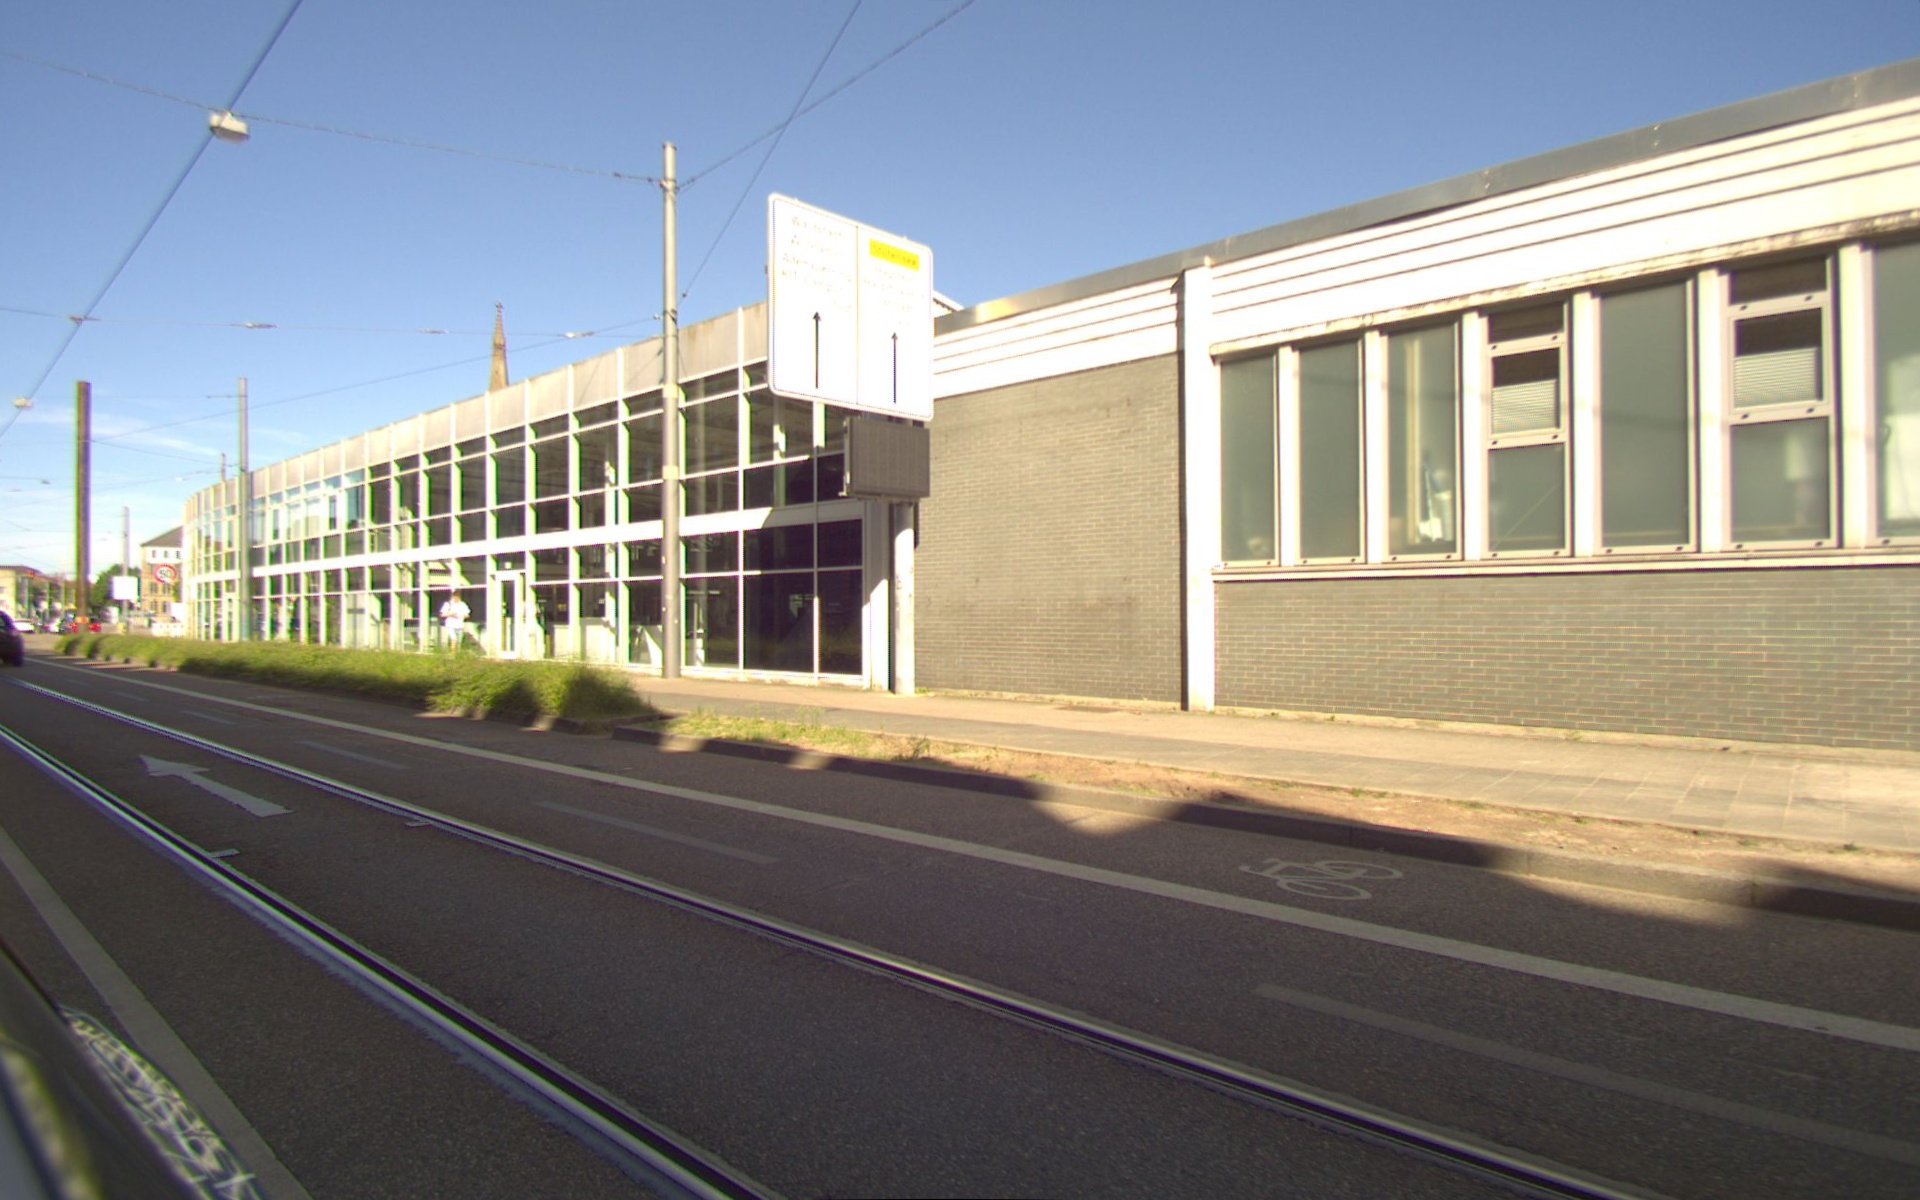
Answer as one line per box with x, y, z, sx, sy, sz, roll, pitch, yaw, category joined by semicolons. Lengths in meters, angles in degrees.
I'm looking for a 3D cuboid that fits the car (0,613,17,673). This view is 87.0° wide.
-29.662;1.295;30.314;4.143;1.709;1.740;0;1;43;car

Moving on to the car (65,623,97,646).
-69.620;2.694;80.134;1.778;1.732;4.421;1;-1;-43;car

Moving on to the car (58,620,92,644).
-74.483;2.657;85.196;4.166;1.948;1.782;-1;-1;44;car

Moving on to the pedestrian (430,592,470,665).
-12.783;0.699;25.363;1.050;1.778;0.521;-1;1;41;pedestrian

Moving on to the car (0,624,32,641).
-86.955;2.958;93.194;4.540;1.443;1.783;0;1;42;car

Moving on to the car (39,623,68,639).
-88.094;2.988;98.341;3.970;1.490;1.632;-1;-2;42;car
